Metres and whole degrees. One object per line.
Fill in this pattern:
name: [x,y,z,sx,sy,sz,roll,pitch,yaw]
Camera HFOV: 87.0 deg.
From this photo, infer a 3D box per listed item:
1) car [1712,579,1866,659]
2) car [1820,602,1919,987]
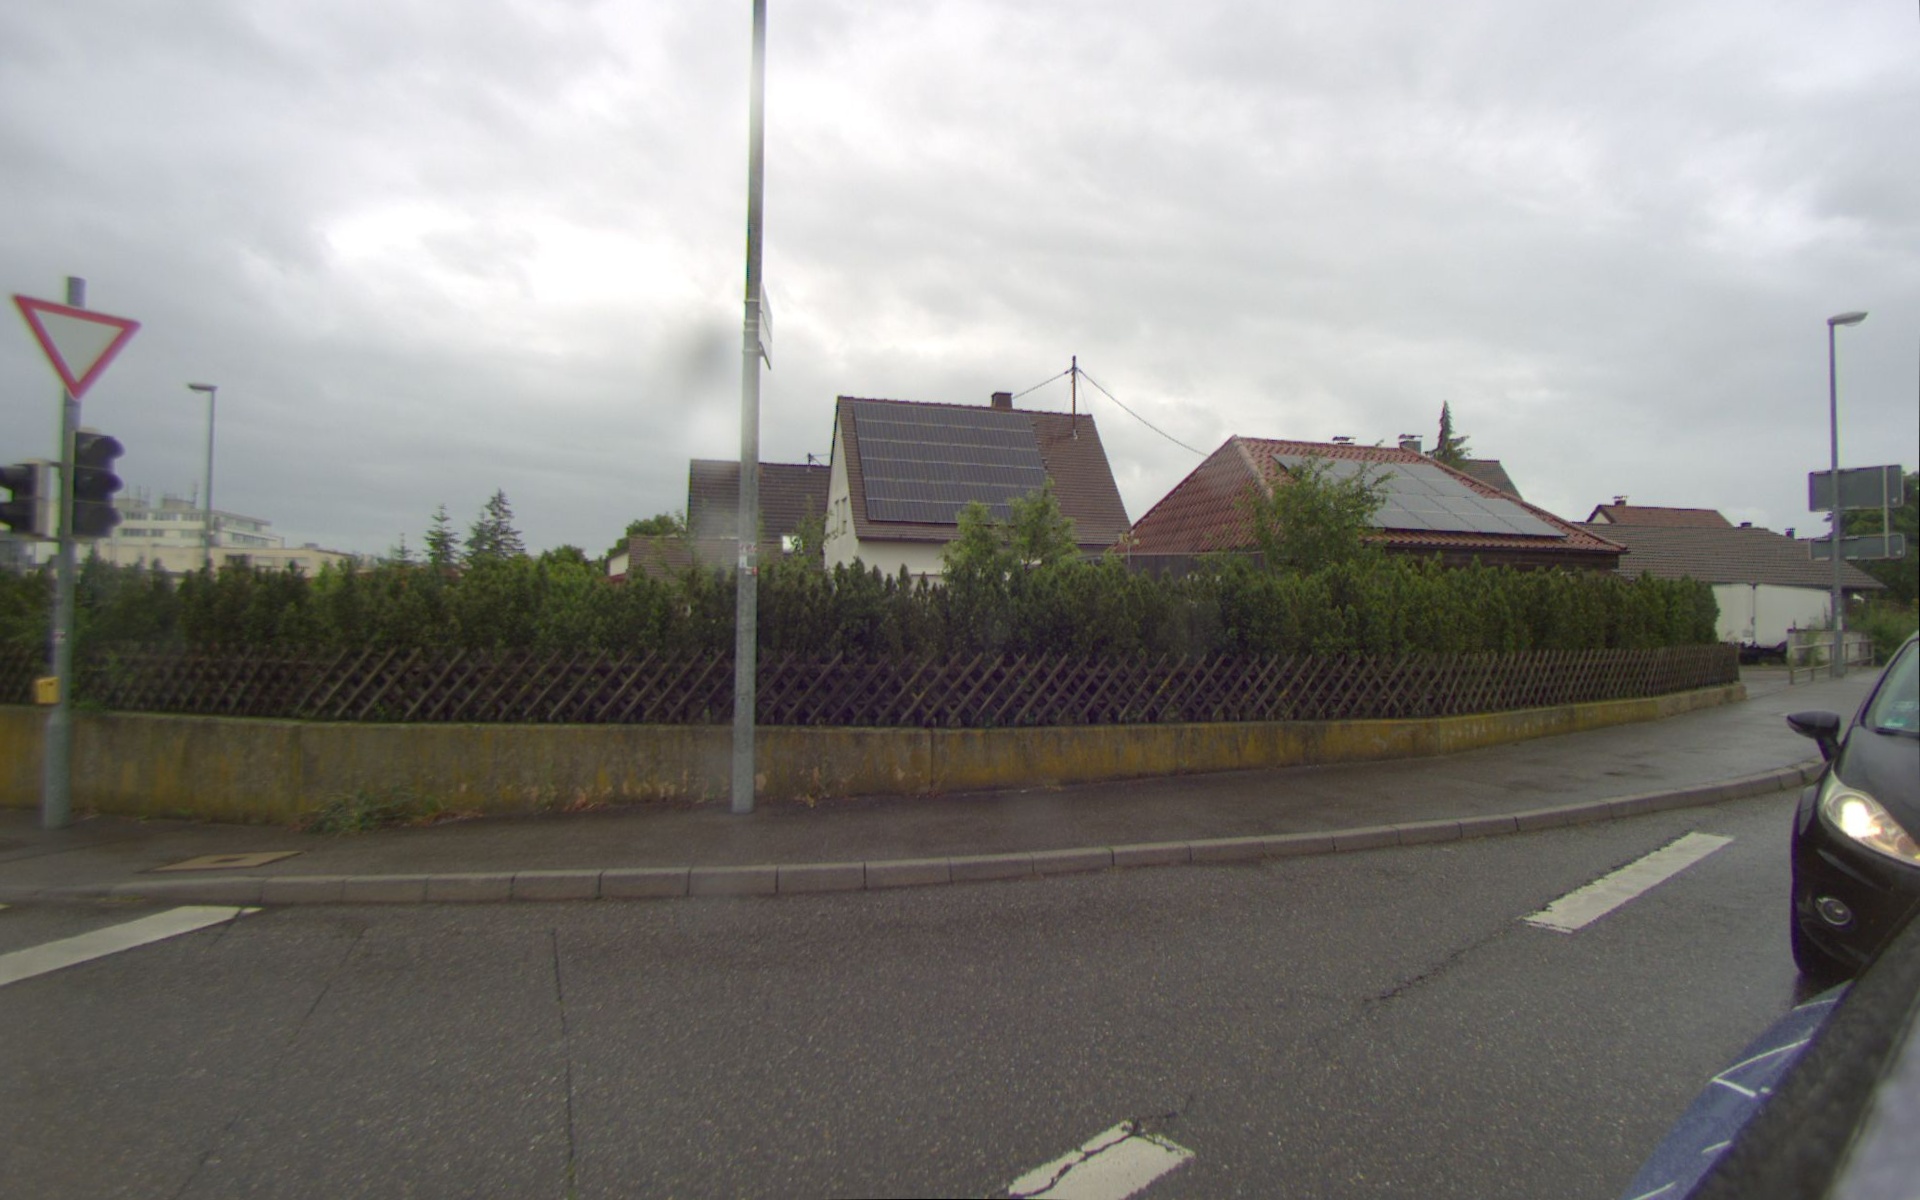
car: [25.542,0.557,31.212,3.916,2.380,1.657,0,-1,-14]
car: [5.460,0.752,4.814,3.867,1.436,1.663,-1,0,-43]
